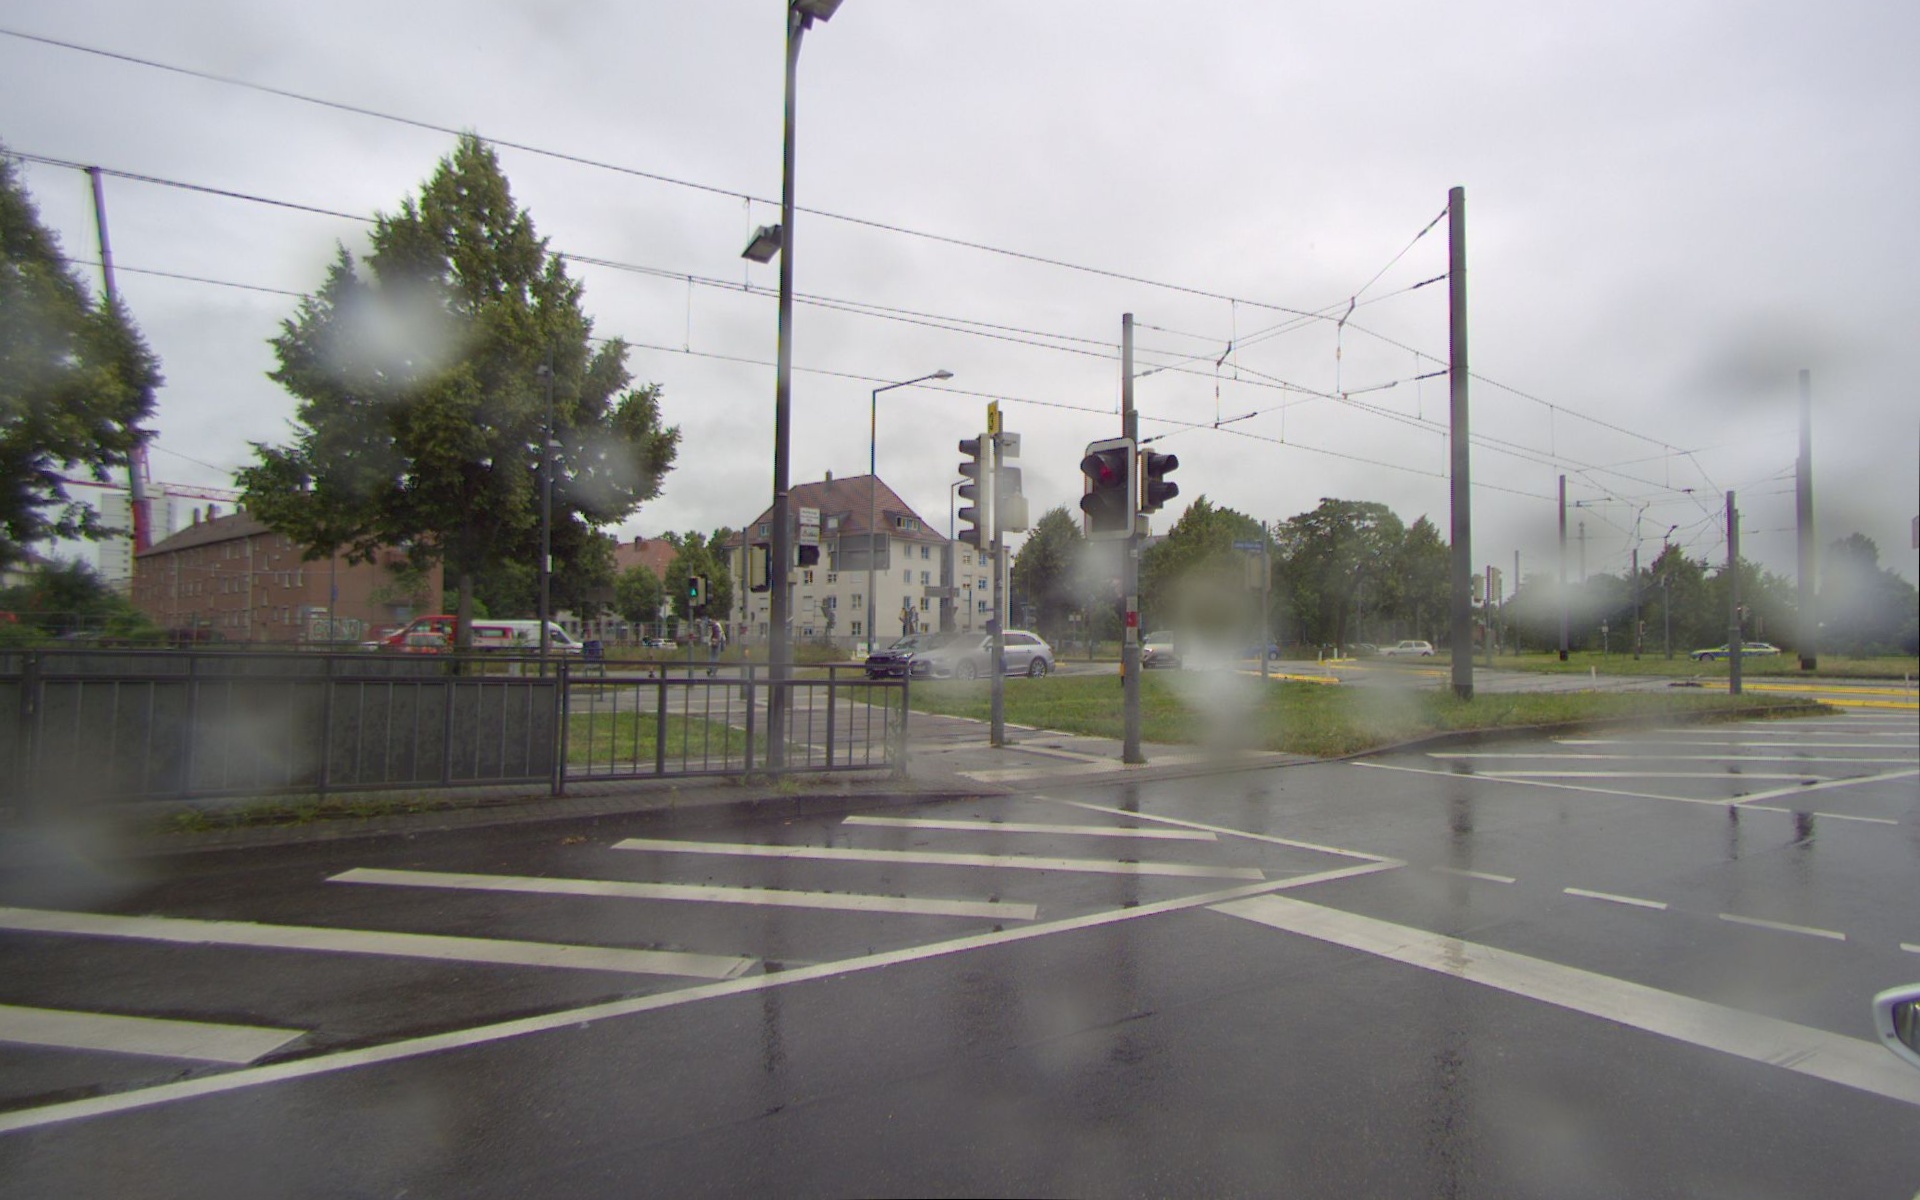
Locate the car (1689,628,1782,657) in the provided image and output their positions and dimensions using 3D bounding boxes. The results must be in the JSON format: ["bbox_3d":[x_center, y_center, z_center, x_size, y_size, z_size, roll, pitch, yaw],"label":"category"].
[{"bbox_3d":[51.265,2.795,66.534,4.696,1.875,1.994,-1,-2,34],"label":"car"}]

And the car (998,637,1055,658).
[{"bbox_3d":[4.876,3.474,73.241,3.907,1.473,1.624,0,-2,13],"label":"car"}]

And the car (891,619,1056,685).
[{"bbox_3d":[0.430,1.376,27.426,4.371,1.649,1.975,2,-2,-42],"label":"car"}]

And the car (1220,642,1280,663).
[{"bbox_3d":[21.098,3.799,73.099,3.911,1.473,1.623,0,-2,-4],"label":"car"}]

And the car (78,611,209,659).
[{"bbox_3d":[-45.214,1.961,55.783,5.441,2.485,1.980,3,0,-36],"label":"car"}]

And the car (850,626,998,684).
[{"bbox_3d":[-1.061,1.655,31.083,4.371,1.649,1.975,2,-2,-42],"label":"car"}]

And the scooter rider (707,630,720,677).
[{"bbox_3d":[-9.063,1.966,36.919,0.426,1.731,0.532,0,-3,-12],"label":"scooter rider"}]

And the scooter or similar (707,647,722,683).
[{"bbox_3d":[-9.011,2.365,36.868,0.439,1.276,1.587,0,-2,-11],"label":"scooter or similar"}]

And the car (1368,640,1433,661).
[{"bbox_3d":[31.545,3.590,71.969,3.908,1.473,1.624,0,-2,2],"label":"car"}]

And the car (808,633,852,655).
[{"bbox_3d":[-10.813,3.637,83.390,3.427,1.563,1.616,2,0,37],"label":"car"}]

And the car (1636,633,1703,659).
[{"bbox_3d":[55.009,3.553,77.898,3.921,1.840,1.681,2,0,-1],"label":"car"}]

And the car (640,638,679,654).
[{"bbox_3d":[-29.346,4.508,97.961,4.559,1.473,1.614,-1,-2,44],"label":"car"}]

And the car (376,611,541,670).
[{"bbox_3d":[-22.262,1.813,44.904,6.389,2.502,1.616,1,-2,-20],"label":"car"}]

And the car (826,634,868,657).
[{"bbox_3d":[-9.207,3.684,81.508,1.663,1.639,3.796,2,0,-37],"label":"car"}]

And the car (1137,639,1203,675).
[{"bbox_3d":[9.221,2.468,43.931,1.595,1.473,4.104,-1,-2,31],"label":"car"}]

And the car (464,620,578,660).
[{"bbox_3d":[-25.947,2.345,59.612,6.004,2.308,1.617,1,-2,-18],"label":"car"}]
